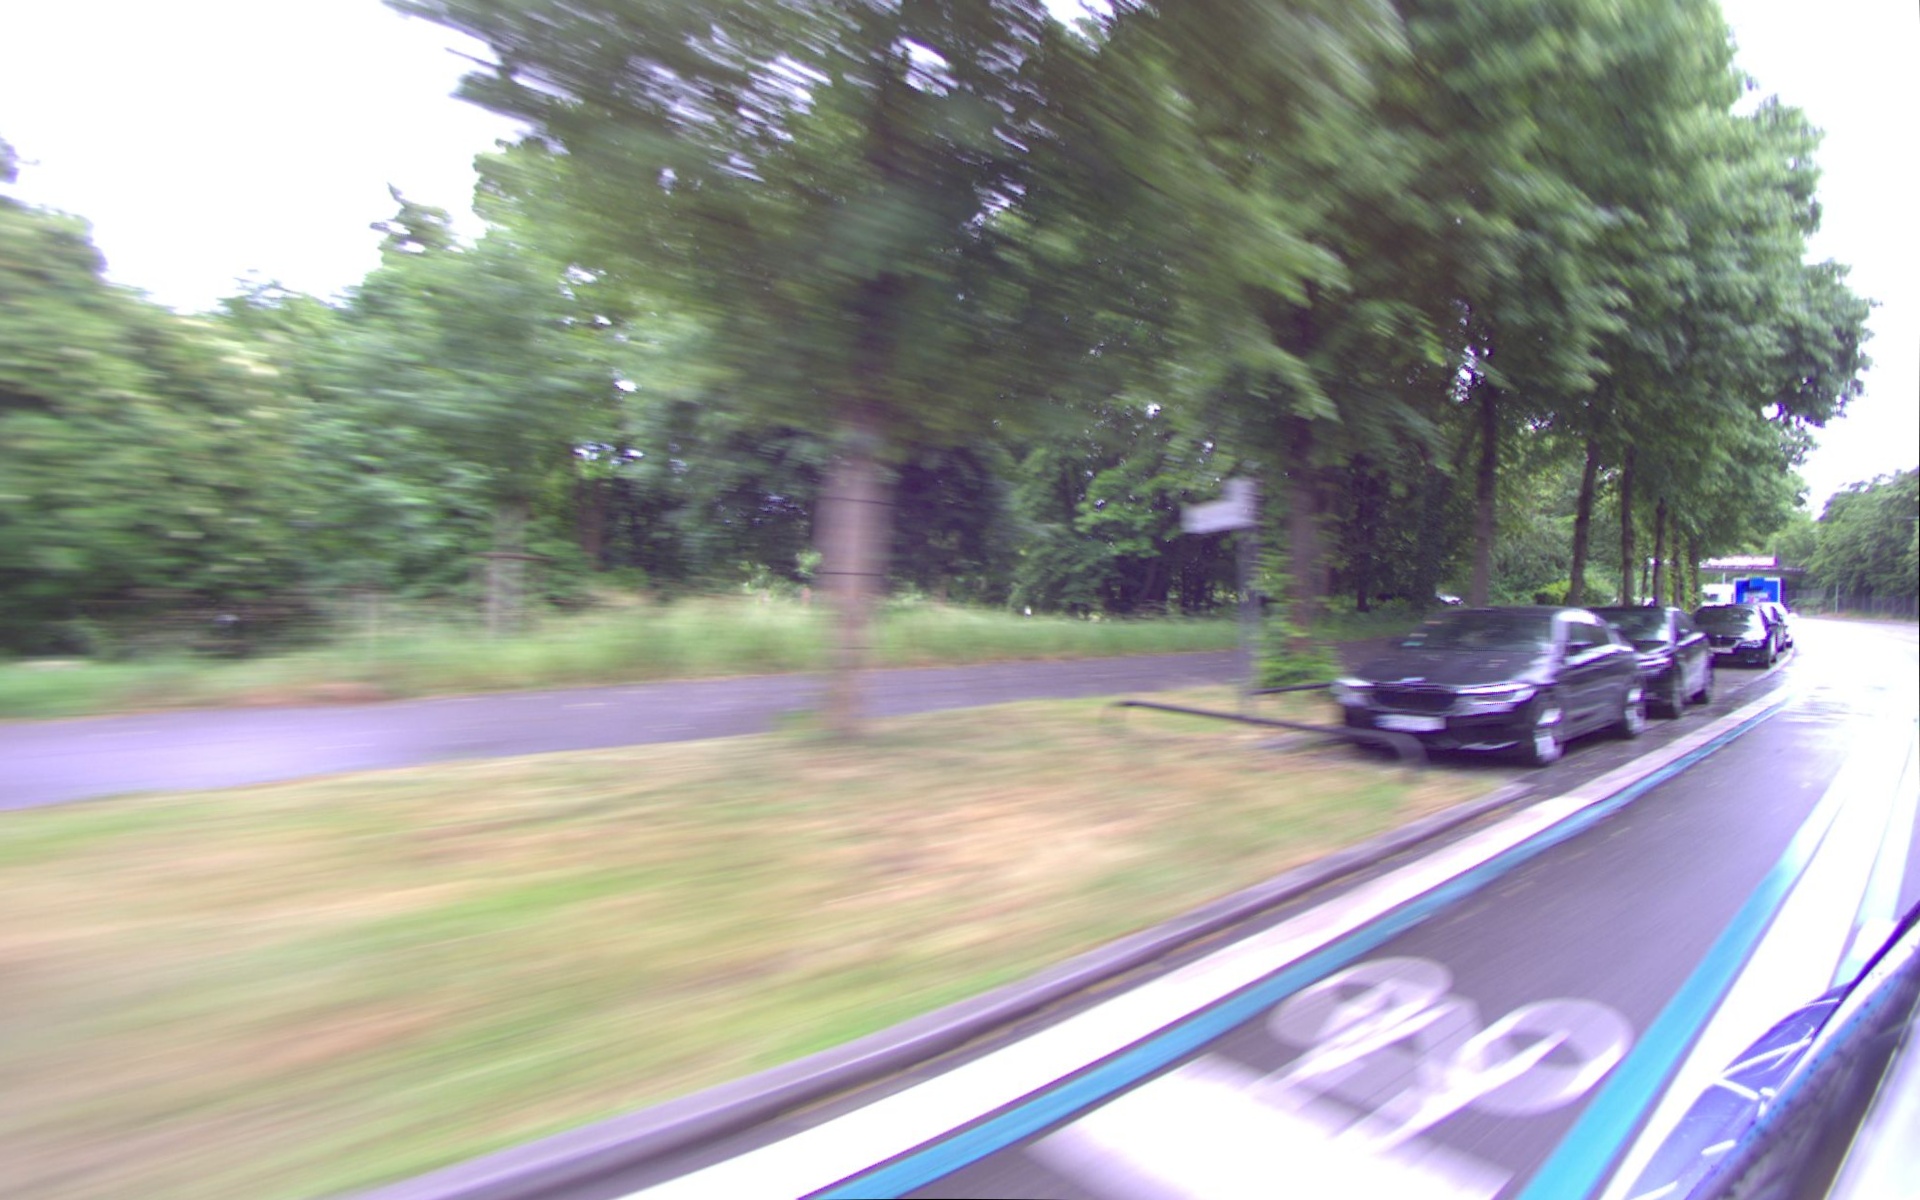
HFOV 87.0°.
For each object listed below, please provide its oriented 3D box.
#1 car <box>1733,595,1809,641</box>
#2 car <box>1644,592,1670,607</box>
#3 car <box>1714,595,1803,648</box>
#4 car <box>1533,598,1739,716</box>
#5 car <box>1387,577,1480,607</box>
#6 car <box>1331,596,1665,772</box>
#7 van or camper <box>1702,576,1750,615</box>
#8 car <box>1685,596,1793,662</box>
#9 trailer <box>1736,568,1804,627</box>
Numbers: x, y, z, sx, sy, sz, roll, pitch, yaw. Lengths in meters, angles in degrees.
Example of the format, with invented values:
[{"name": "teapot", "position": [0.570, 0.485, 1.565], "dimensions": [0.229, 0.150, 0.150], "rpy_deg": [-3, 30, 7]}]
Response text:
[{"name": "car", "position": [27.770, 0.546, 34.604], "dimensions": [1.858, 1.446, 4.581], "rpy_deg": [0, 1, 41]}, {"name": "car", "position": [72.277, -0.055, 104.999], "dimensions": [1.650, 1.554, 3.708], "rpy_deg": [1, 1, 26]}, {"name": "car", "position": [23.817, 0.584, 30.147], "dimensions": [1.683, 1.446, 4.249], "rpy_deg": [0, 0, 44]}, {"name": "car", "position": [9.996, 0.706, 14.803], "dimensions": [1.699, 1.438, 4.688], "rpy_deg": [-1, 0, 44]}, {"name": "car", "position": [25.495, -0.462, 54.568], "dimensions": [1.858, 1.338, 4.144], "rpy_deg": [0, 3, -42]}, {"name": "car", "position": [5.876, 0.691, 10.731], "dimensions": [4.777, 1.458, 1.759], "rpy_deg": [0, 0, -44]}, {"name": "van or camper", "position": [55.558, -0.323, 73.518], "dimensions": [2.308, 2.698, 6.306], "rpy_deg": [1, 1, 33]}, {"name": "car", "position": [19.115, 0.627, 24.753], "dimensions": [1.780, 1.425, 4.772], "rpy_deg": [0, 1, 42]}, {"name": "trailer", "position": [39.636, -0.148, 49.648], "dimensions": [2.310, 2.705, 5.306], "rpy_deg": [1, 1, 36]}]
